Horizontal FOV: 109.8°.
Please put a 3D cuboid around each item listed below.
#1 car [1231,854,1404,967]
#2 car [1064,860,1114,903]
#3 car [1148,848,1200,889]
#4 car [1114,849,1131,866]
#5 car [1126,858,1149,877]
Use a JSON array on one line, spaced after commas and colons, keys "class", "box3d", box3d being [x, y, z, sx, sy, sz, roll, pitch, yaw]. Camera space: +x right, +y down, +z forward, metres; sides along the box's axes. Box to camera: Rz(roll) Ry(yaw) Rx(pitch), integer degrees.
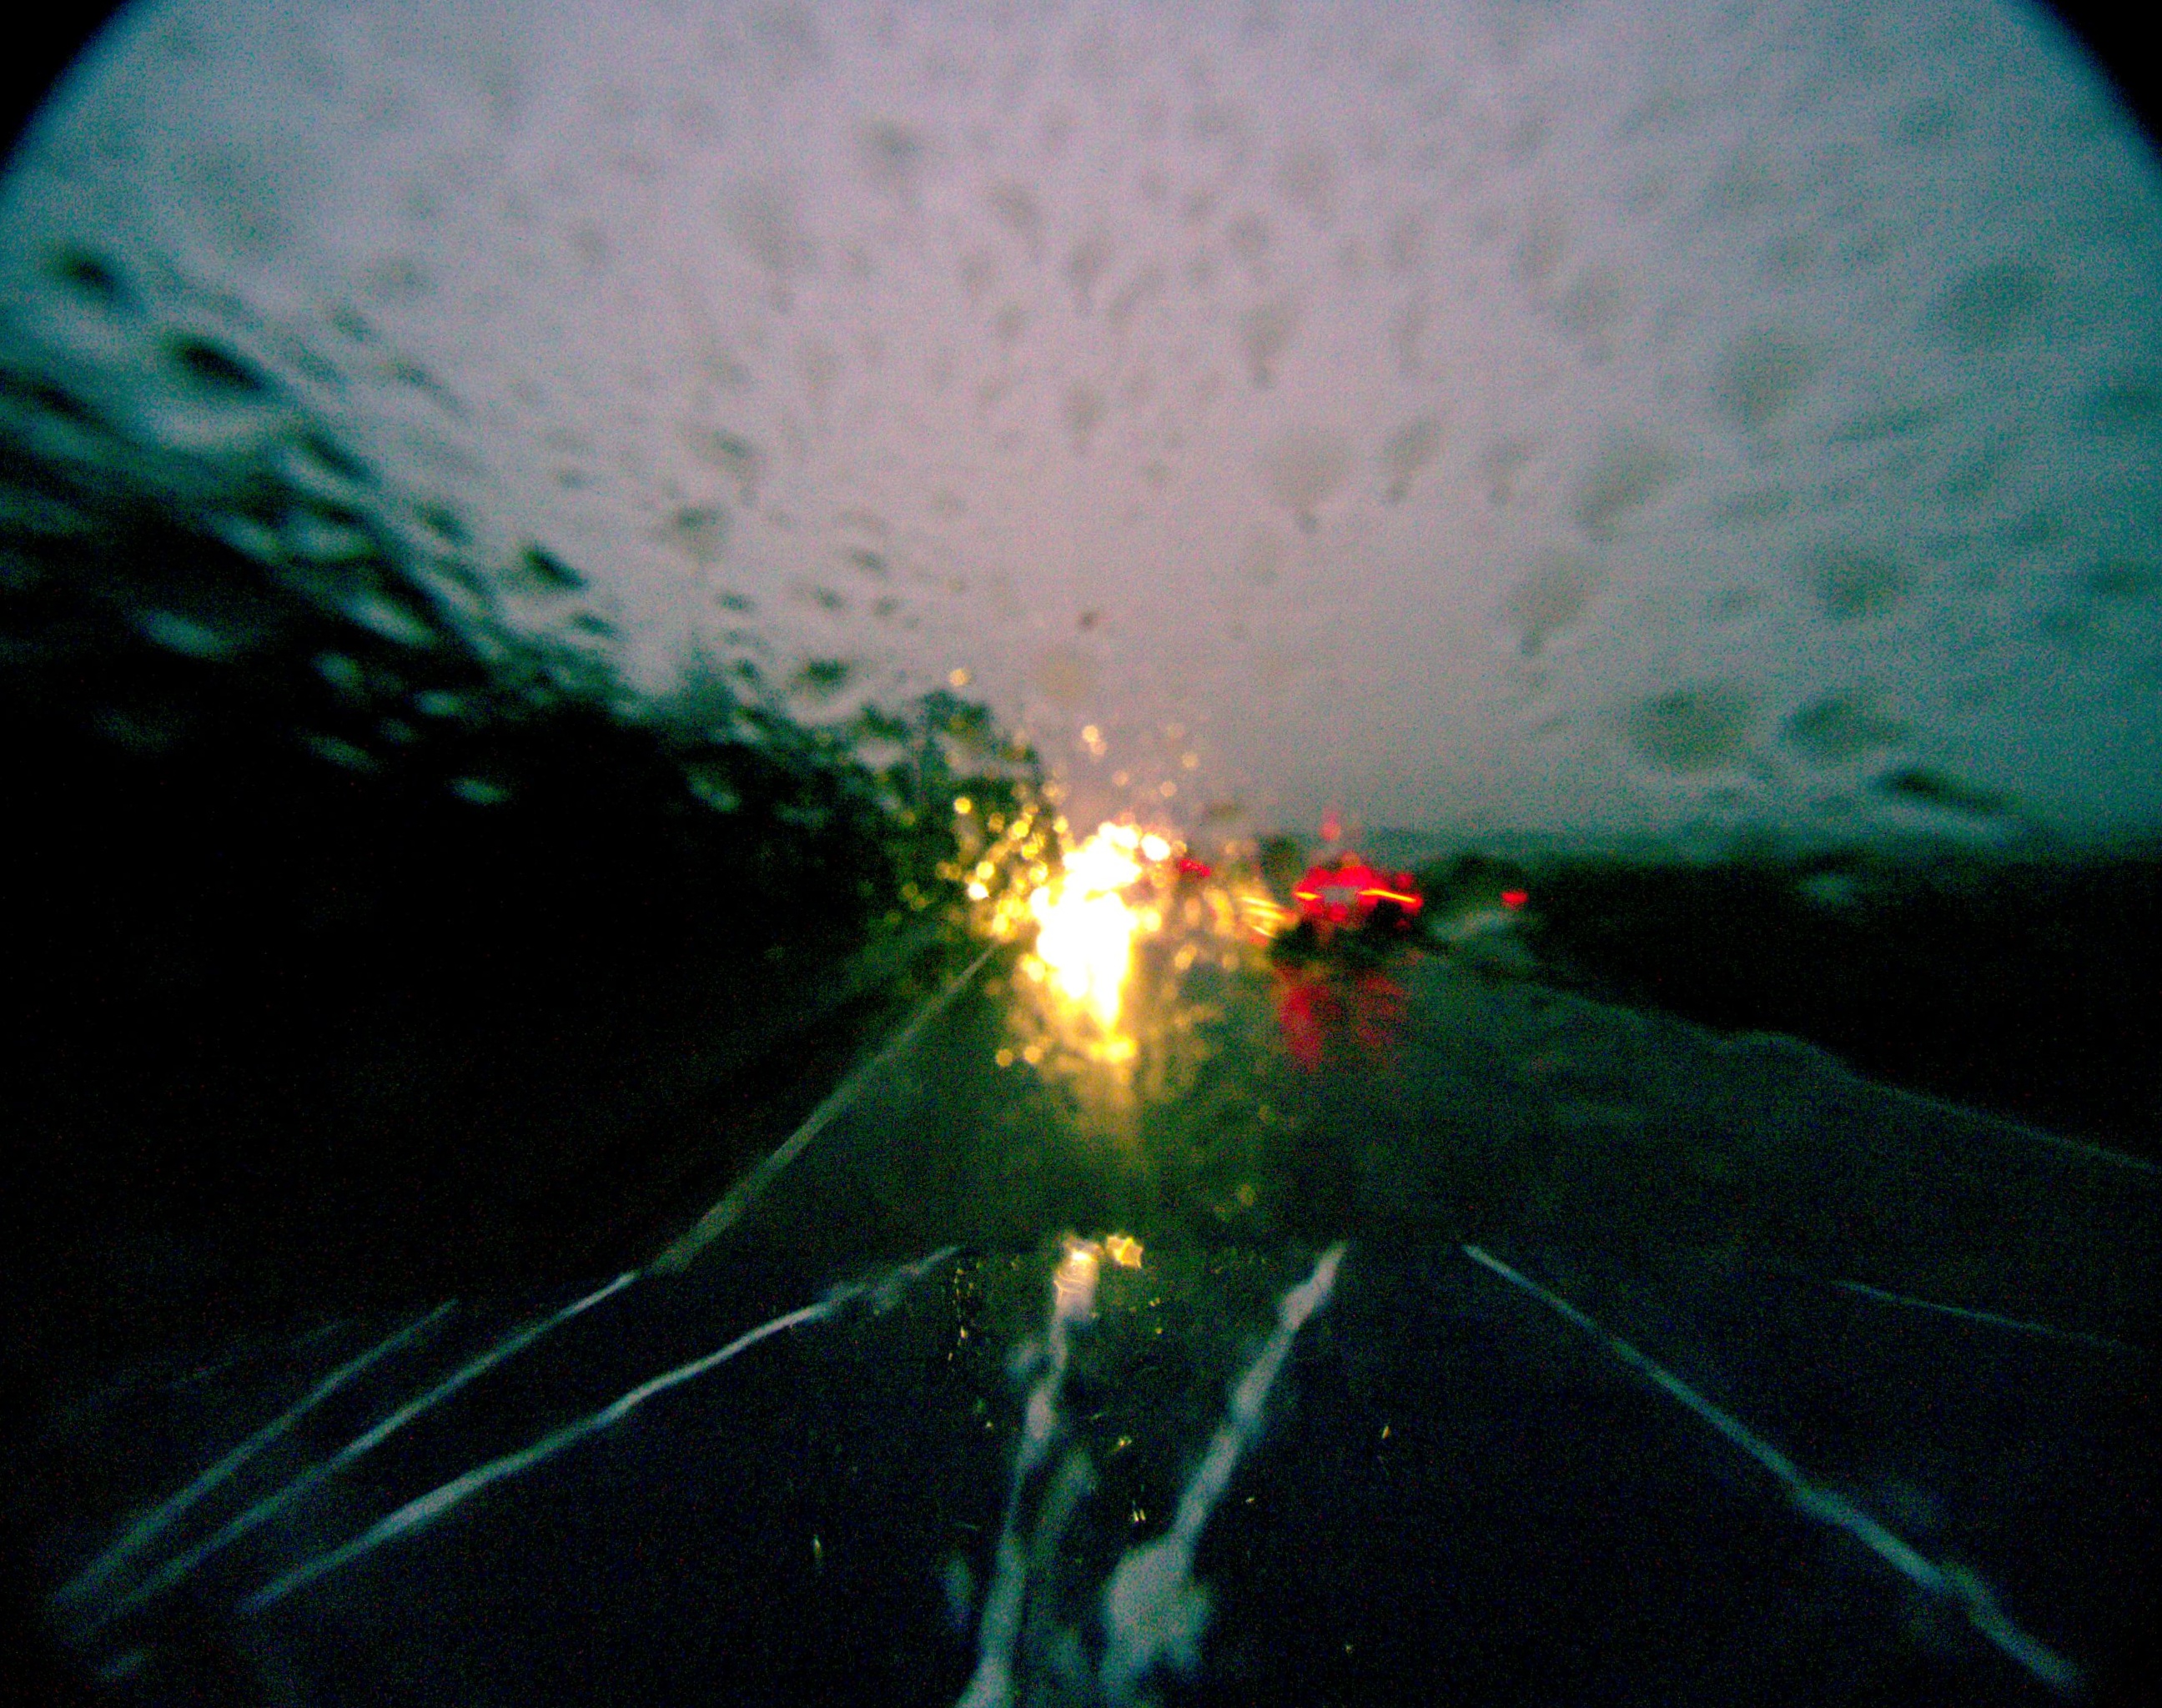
[{"class": "car", "box3d": [3.925, 0.833, 13.406, 1.733, 1.637, 4.261, 1, 0, 1]}, {"class": "car", "box3d": [0.309, 1.078, 30.879, 1.844, 1.484, 3.955, -2, 1, 0]}, {"class": "car", "box3d": [4.450, 0.660, 37.001, 1.998, 1.860, 4.952, 1, 0, 1]}, {"class": "car", "box3d": [5.048, 0.440, 93.537, 1.871, 2.041, 4.293, -1, 0, 1]}, {"class": "car", "box3d": [4.703, 1.087, 63.500, 1.630, 1.464, 3.512, 1, 1, 1]}]
